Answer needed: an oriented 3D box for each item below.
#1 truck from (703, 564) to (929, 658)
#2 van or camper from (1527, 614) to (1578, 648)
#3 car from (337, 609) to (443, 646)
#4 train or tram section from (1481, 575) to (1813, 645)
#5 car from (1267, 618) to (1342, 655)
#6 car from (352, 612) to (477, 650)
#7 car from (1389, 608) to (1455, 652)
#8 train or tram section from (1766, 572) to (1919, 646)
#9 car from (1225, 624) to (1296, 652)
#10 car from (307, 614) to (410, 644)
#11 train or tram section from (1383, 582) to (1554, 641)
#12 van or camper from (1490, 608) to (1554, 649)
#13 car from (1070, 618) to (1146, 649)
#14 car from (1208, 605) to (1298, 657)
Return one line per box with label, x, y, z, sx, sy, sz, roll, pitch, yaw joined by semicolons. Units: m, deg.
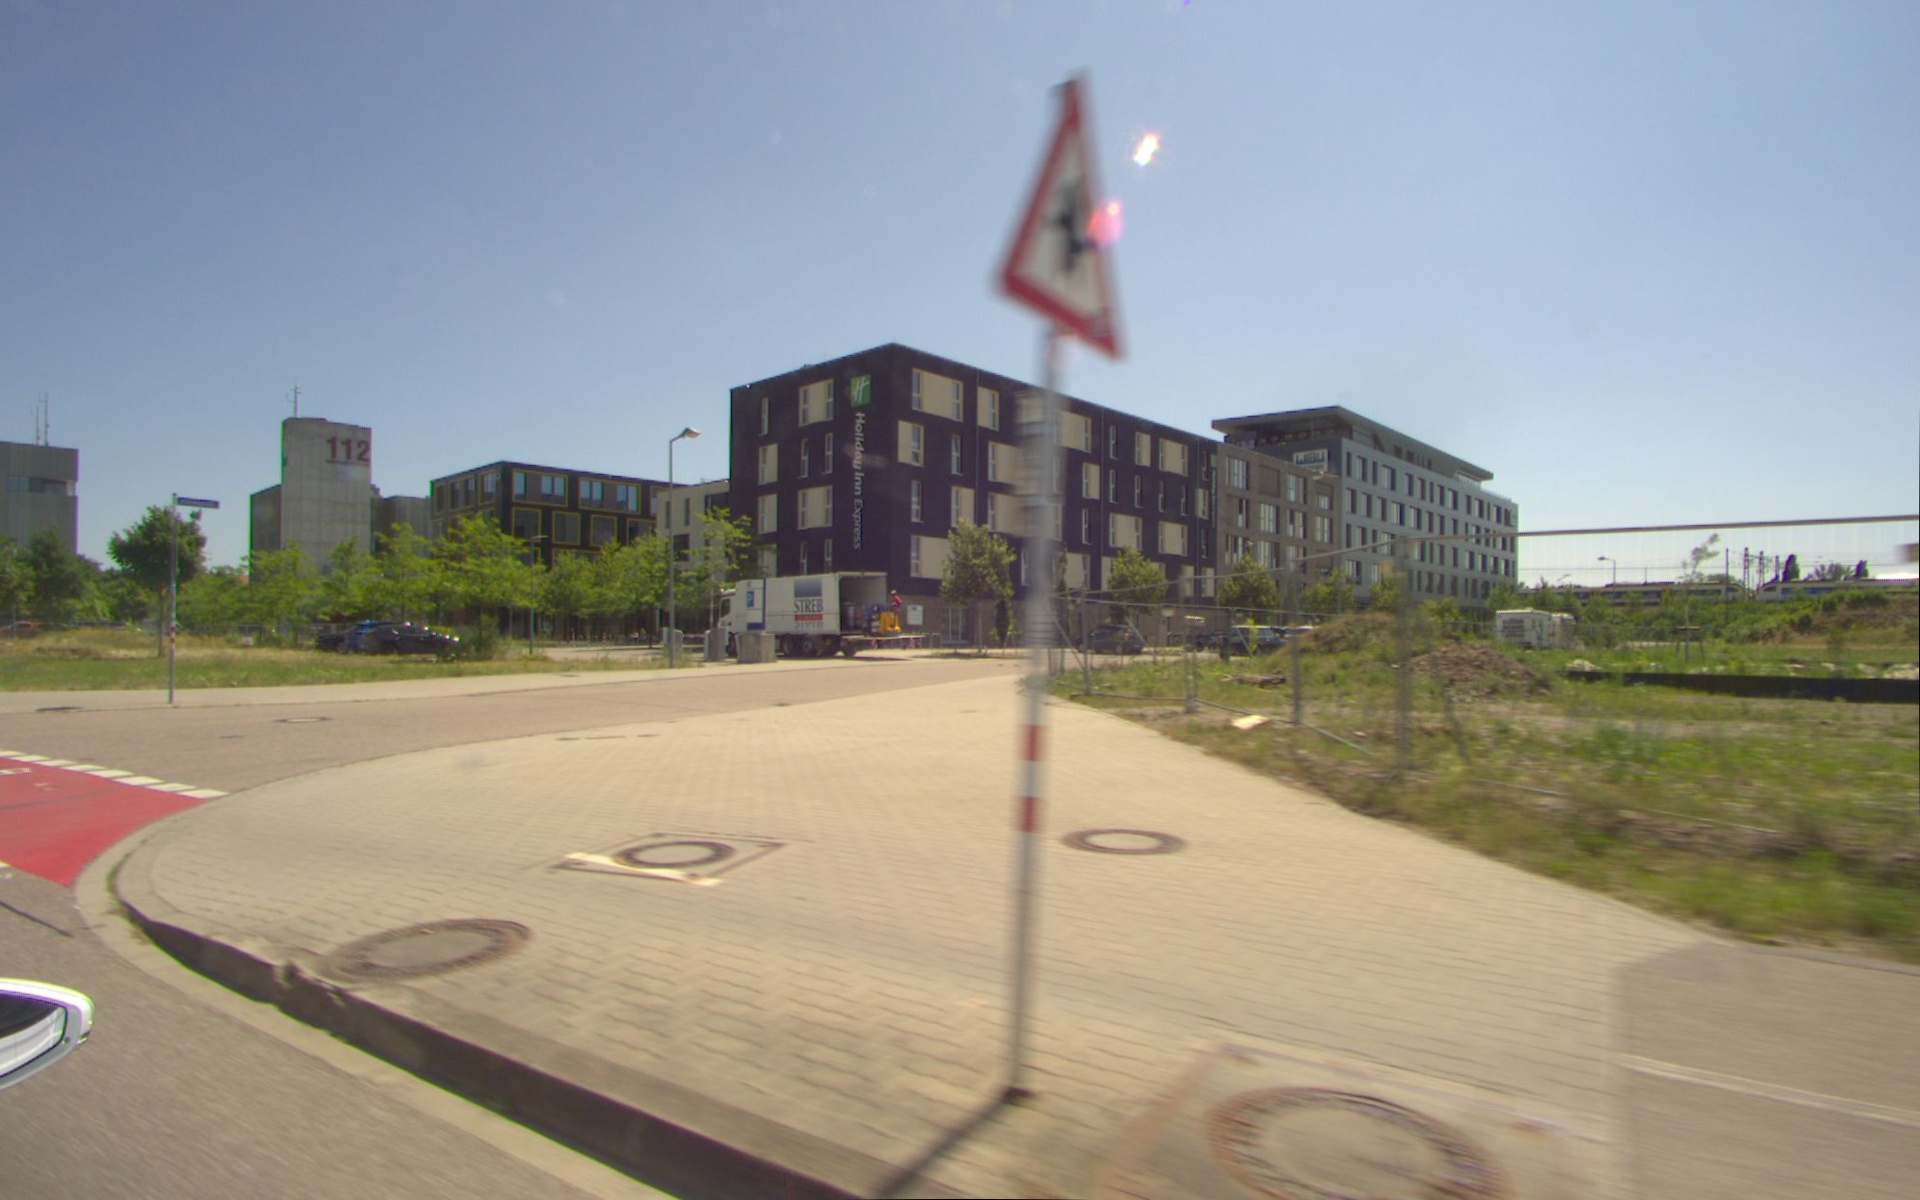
truck;-6.526;0.484;42.807;2.990;3.507;12.016;-1;0;-45
van or camper;46.078;2.422;77.842;2.377;2.567;5.393;0;-1;42
car;-27.218;1.334;47.887;1.933;1.673;4.038;0;-2;42
train or tram section;111.191;1.822;165.403;9.501;10.053;44.386;2;-2;-41
car;15.575;1.646;45.186;1.730;1.577;4.010;0;-2;43
car;-24.142;1.366;44.447;2.009;1.582;4.472;0;-2;41
car;22.960;1.518;49.682;1.861;2.038;3.884;-2;-4;43
train or tram section;137.608;1.357;134.921;9.501;10.053;44.387;2;-2;-41
car;19.071;2.401;63.644;3.972;1.722;1.662;0;-1;41
car;-30.771;1.471;51.313;1.937;1.463;4.100;0;-2;37
train or tram section;93.714;2.204;185.608;9.499;10.053;26.769;2;-2;-41
van or camper;40.223;2.063;71.532;2.538;2.812;6.371;0;-1;43
car;7.544;1.702;51.245;3.542;1.472;1.681;0;-1;42
car;12.059;1.264;41.091;3.878;2.039;1.863;2;-1;-43
